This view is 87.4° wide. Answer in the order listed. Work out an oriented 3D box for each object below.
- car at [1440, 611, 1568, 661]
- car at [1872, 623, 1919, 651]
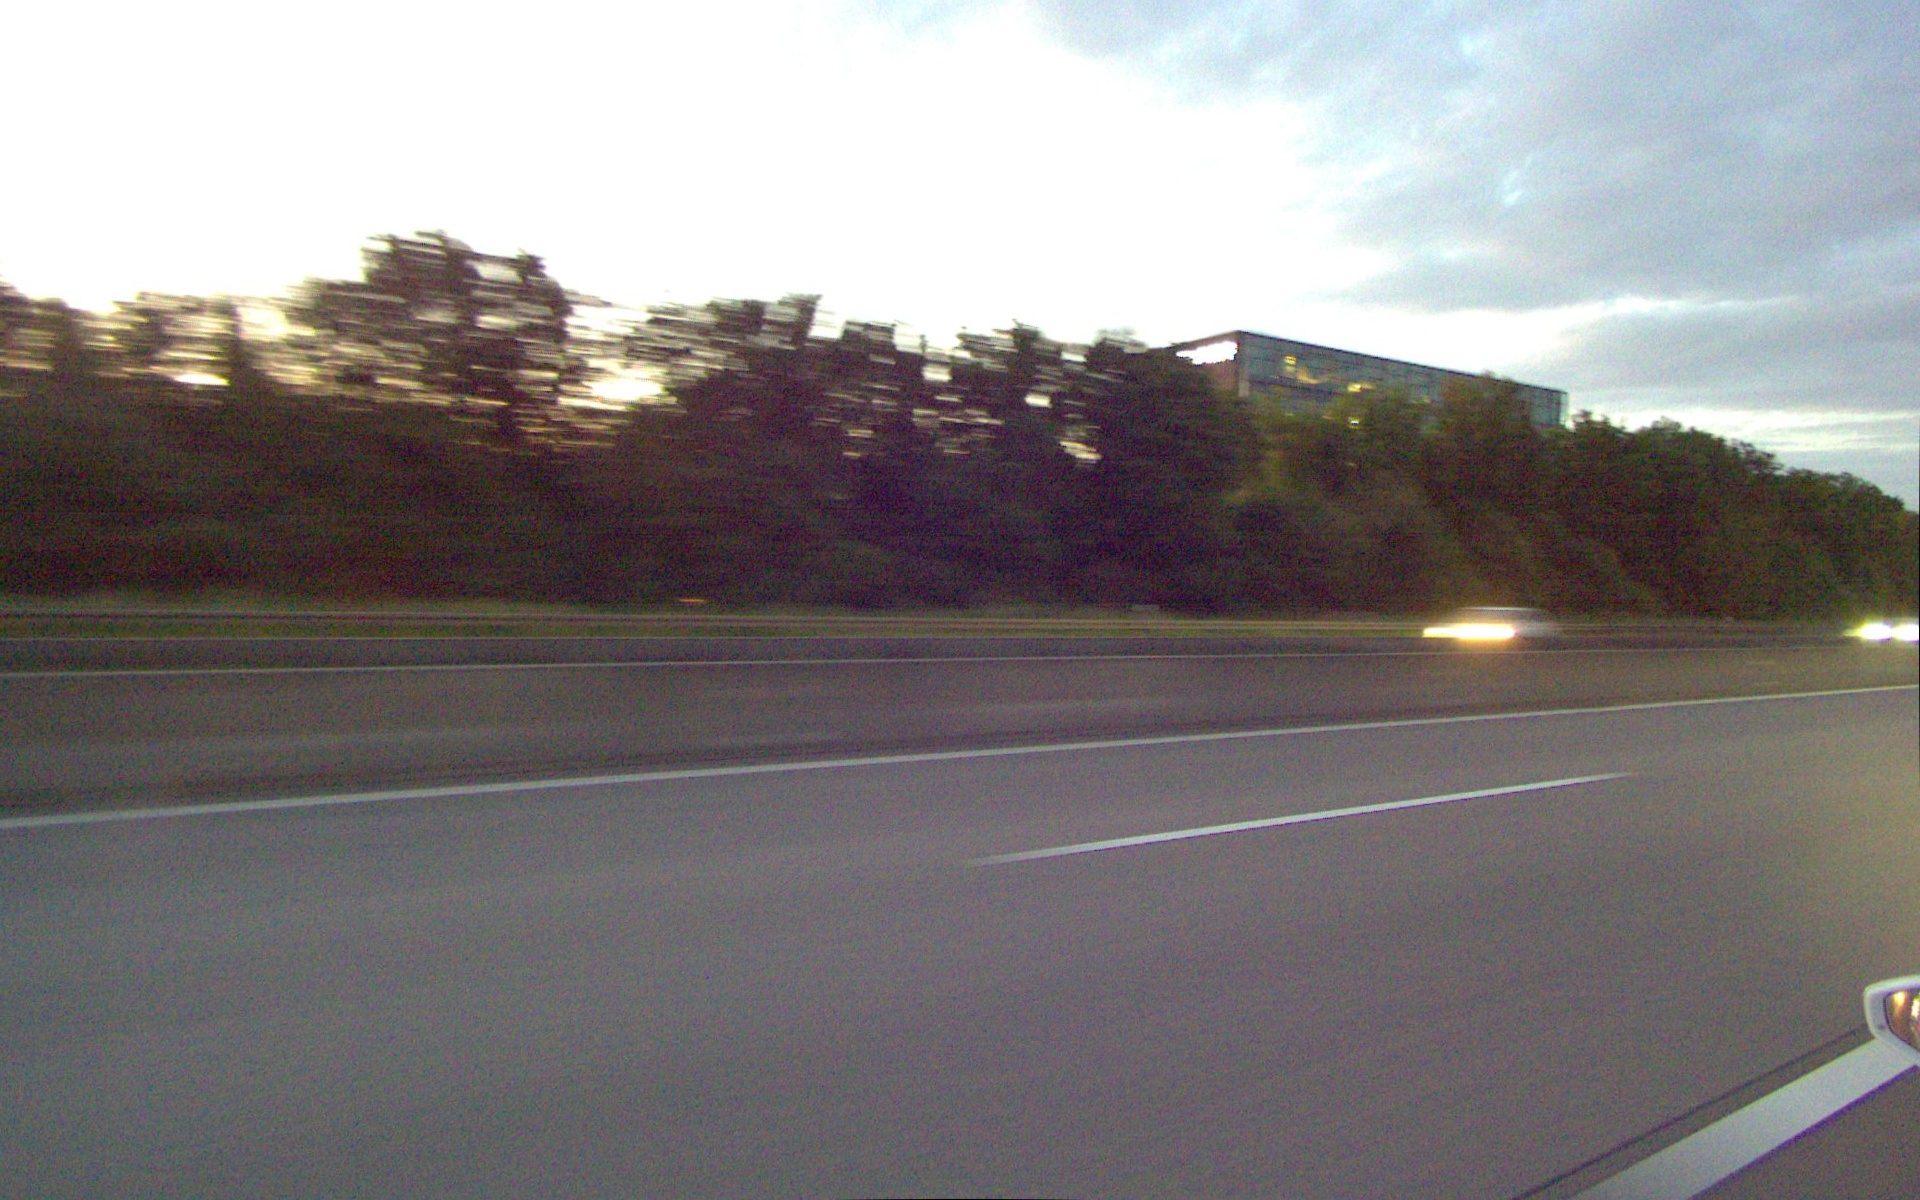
[{"bbox_3d":[17.584,1.148,32.469,3.791,1.472,1.983,2,0,-31],"label":"car"},{"bbox_3d":[49.724,1.954,52.446,4.854,1.354,1.825,2,0,-31],"label":"car"}]
